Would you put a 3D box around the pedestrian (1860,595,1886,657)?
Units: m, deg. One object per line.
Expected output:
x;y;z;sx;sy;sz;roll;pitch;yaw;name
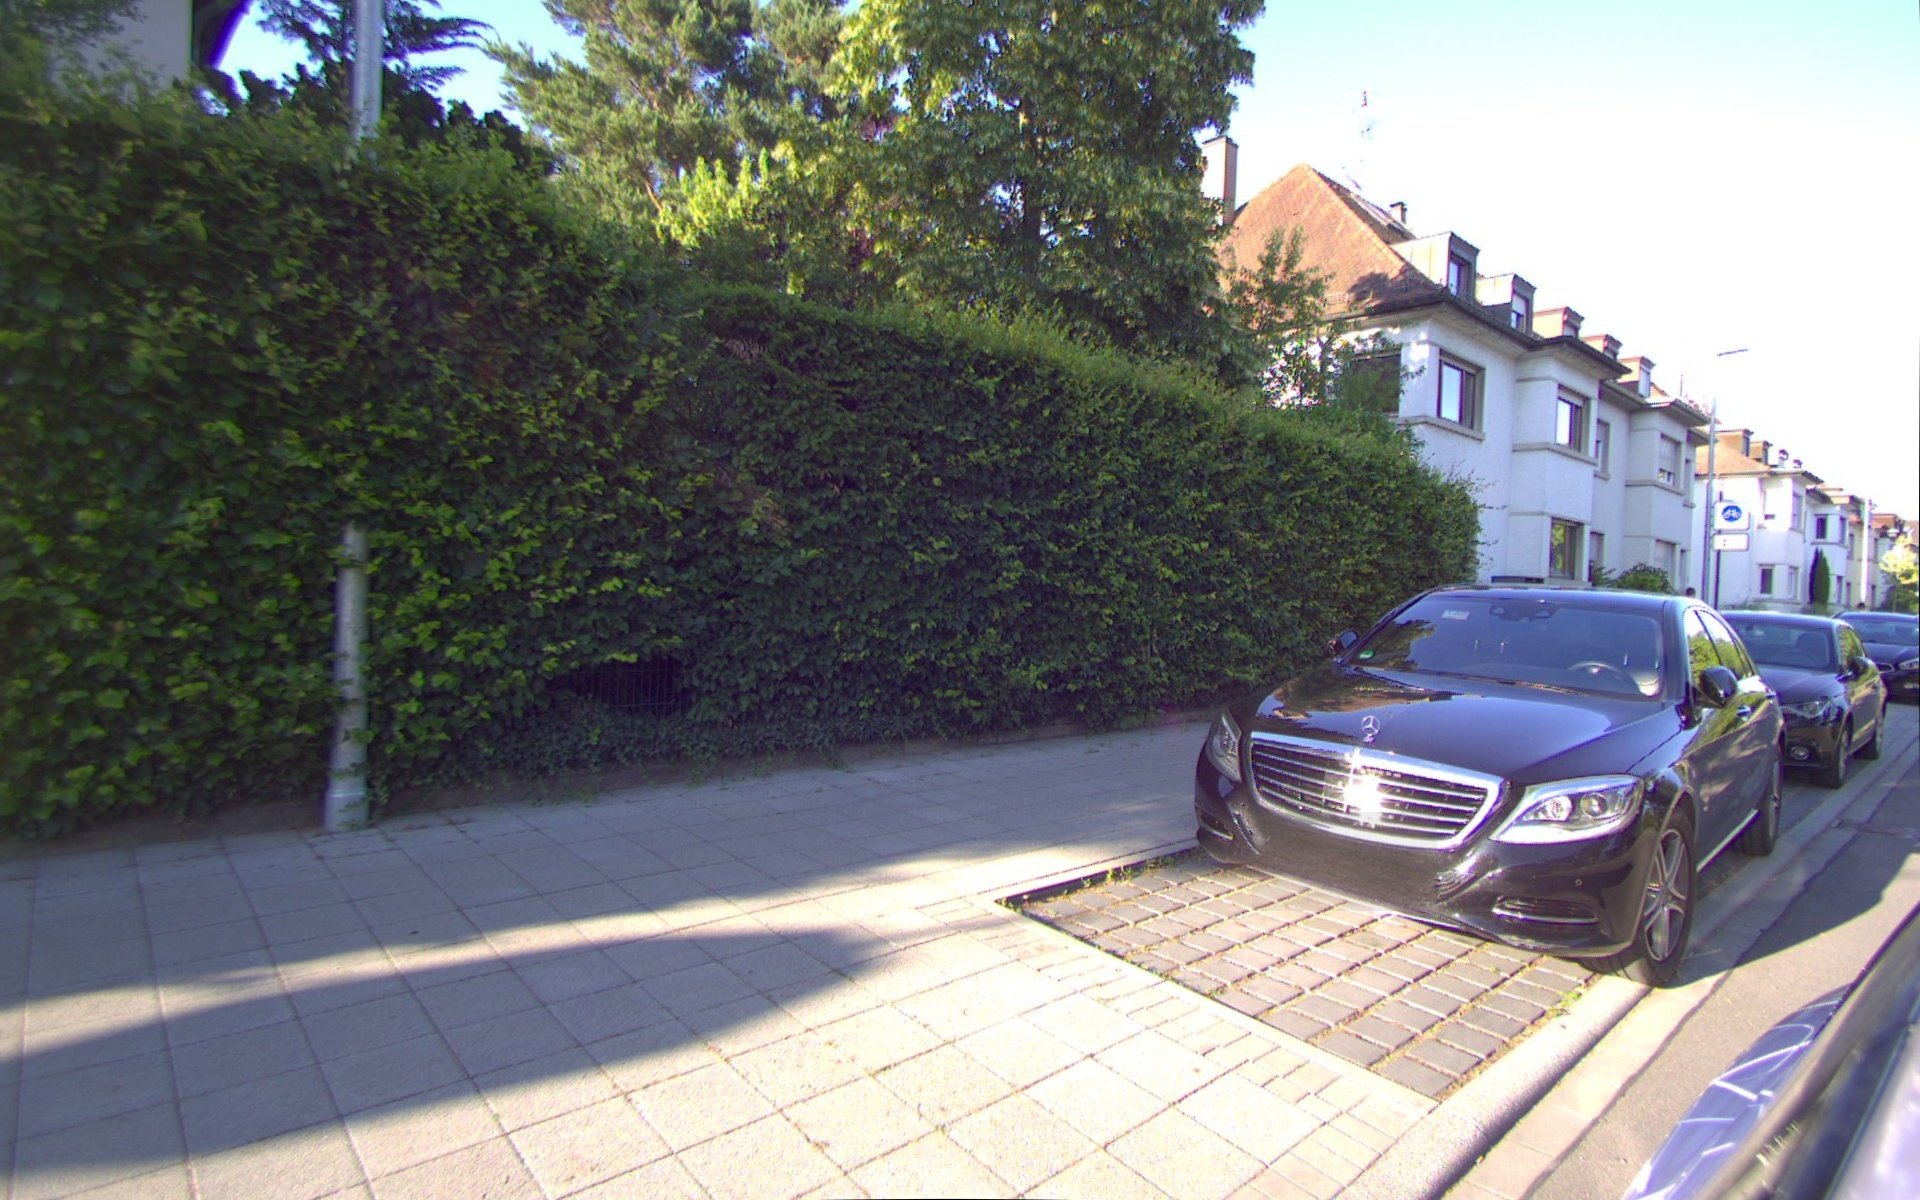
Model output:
27.256;0.771;30.203;0.579;1.821;0.530;1;-1;-44;pedestrian

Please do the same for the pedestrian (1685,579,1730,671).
15.618;0.502;21.151;0.809;1.869;0.587;0;0;-41;pedestrian

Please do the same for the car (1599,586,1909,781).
7.775;0.662;9.774;3.932;1.496;1.781;1;-1;-43;car

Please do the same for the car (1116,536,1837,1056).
3.133;0.564;5.458;4.835;1.516;2.006;1;3;-45;car

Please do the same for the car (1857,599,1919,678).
20.032;0.787;21.023;3.410;1.554;1.679;1;-1;-41;car

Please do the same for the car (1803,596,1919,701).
15.891;0.780;17.295;4.007;1.616;1.793;1;-1;-43;car
